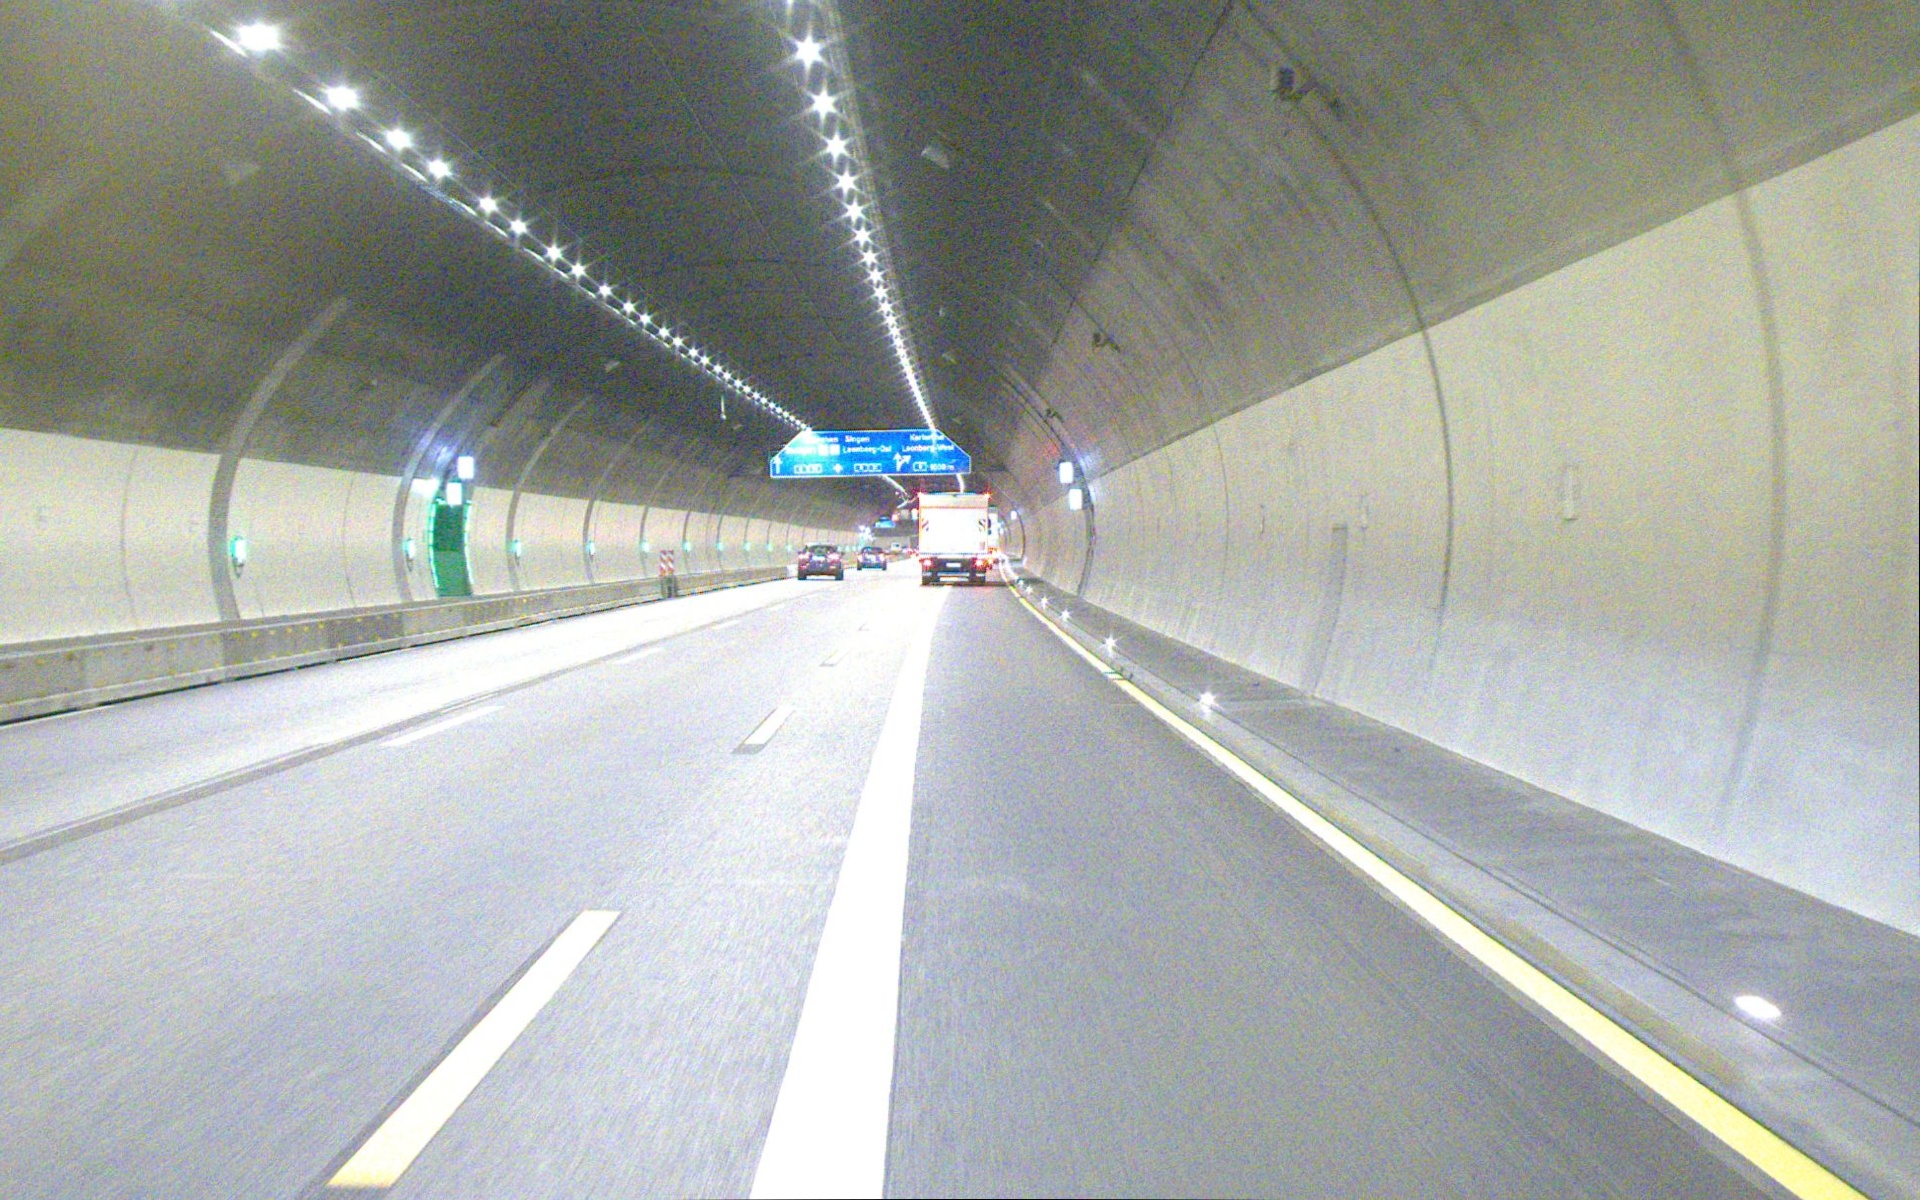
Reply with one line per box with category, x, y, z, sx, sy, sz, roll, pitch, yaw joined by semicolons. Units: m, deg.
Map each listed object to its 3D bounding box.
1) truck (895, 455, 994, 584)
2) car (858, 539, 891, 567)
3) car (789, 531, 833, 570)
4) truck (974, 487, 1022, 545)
truck;-0.724;-3.133;134.157;3.278;4.634;17.289;-1;1;-2
car;-5.005;-2.753;201.253;1.812;1.514;4.001;0;3;-3
car;-6.294;-2.115;145.376;1.812;1.612;4.001;0;1;-2
truck;2.727;-6.068;249.570;2.922;4.034;14.031;-1;1;-1
